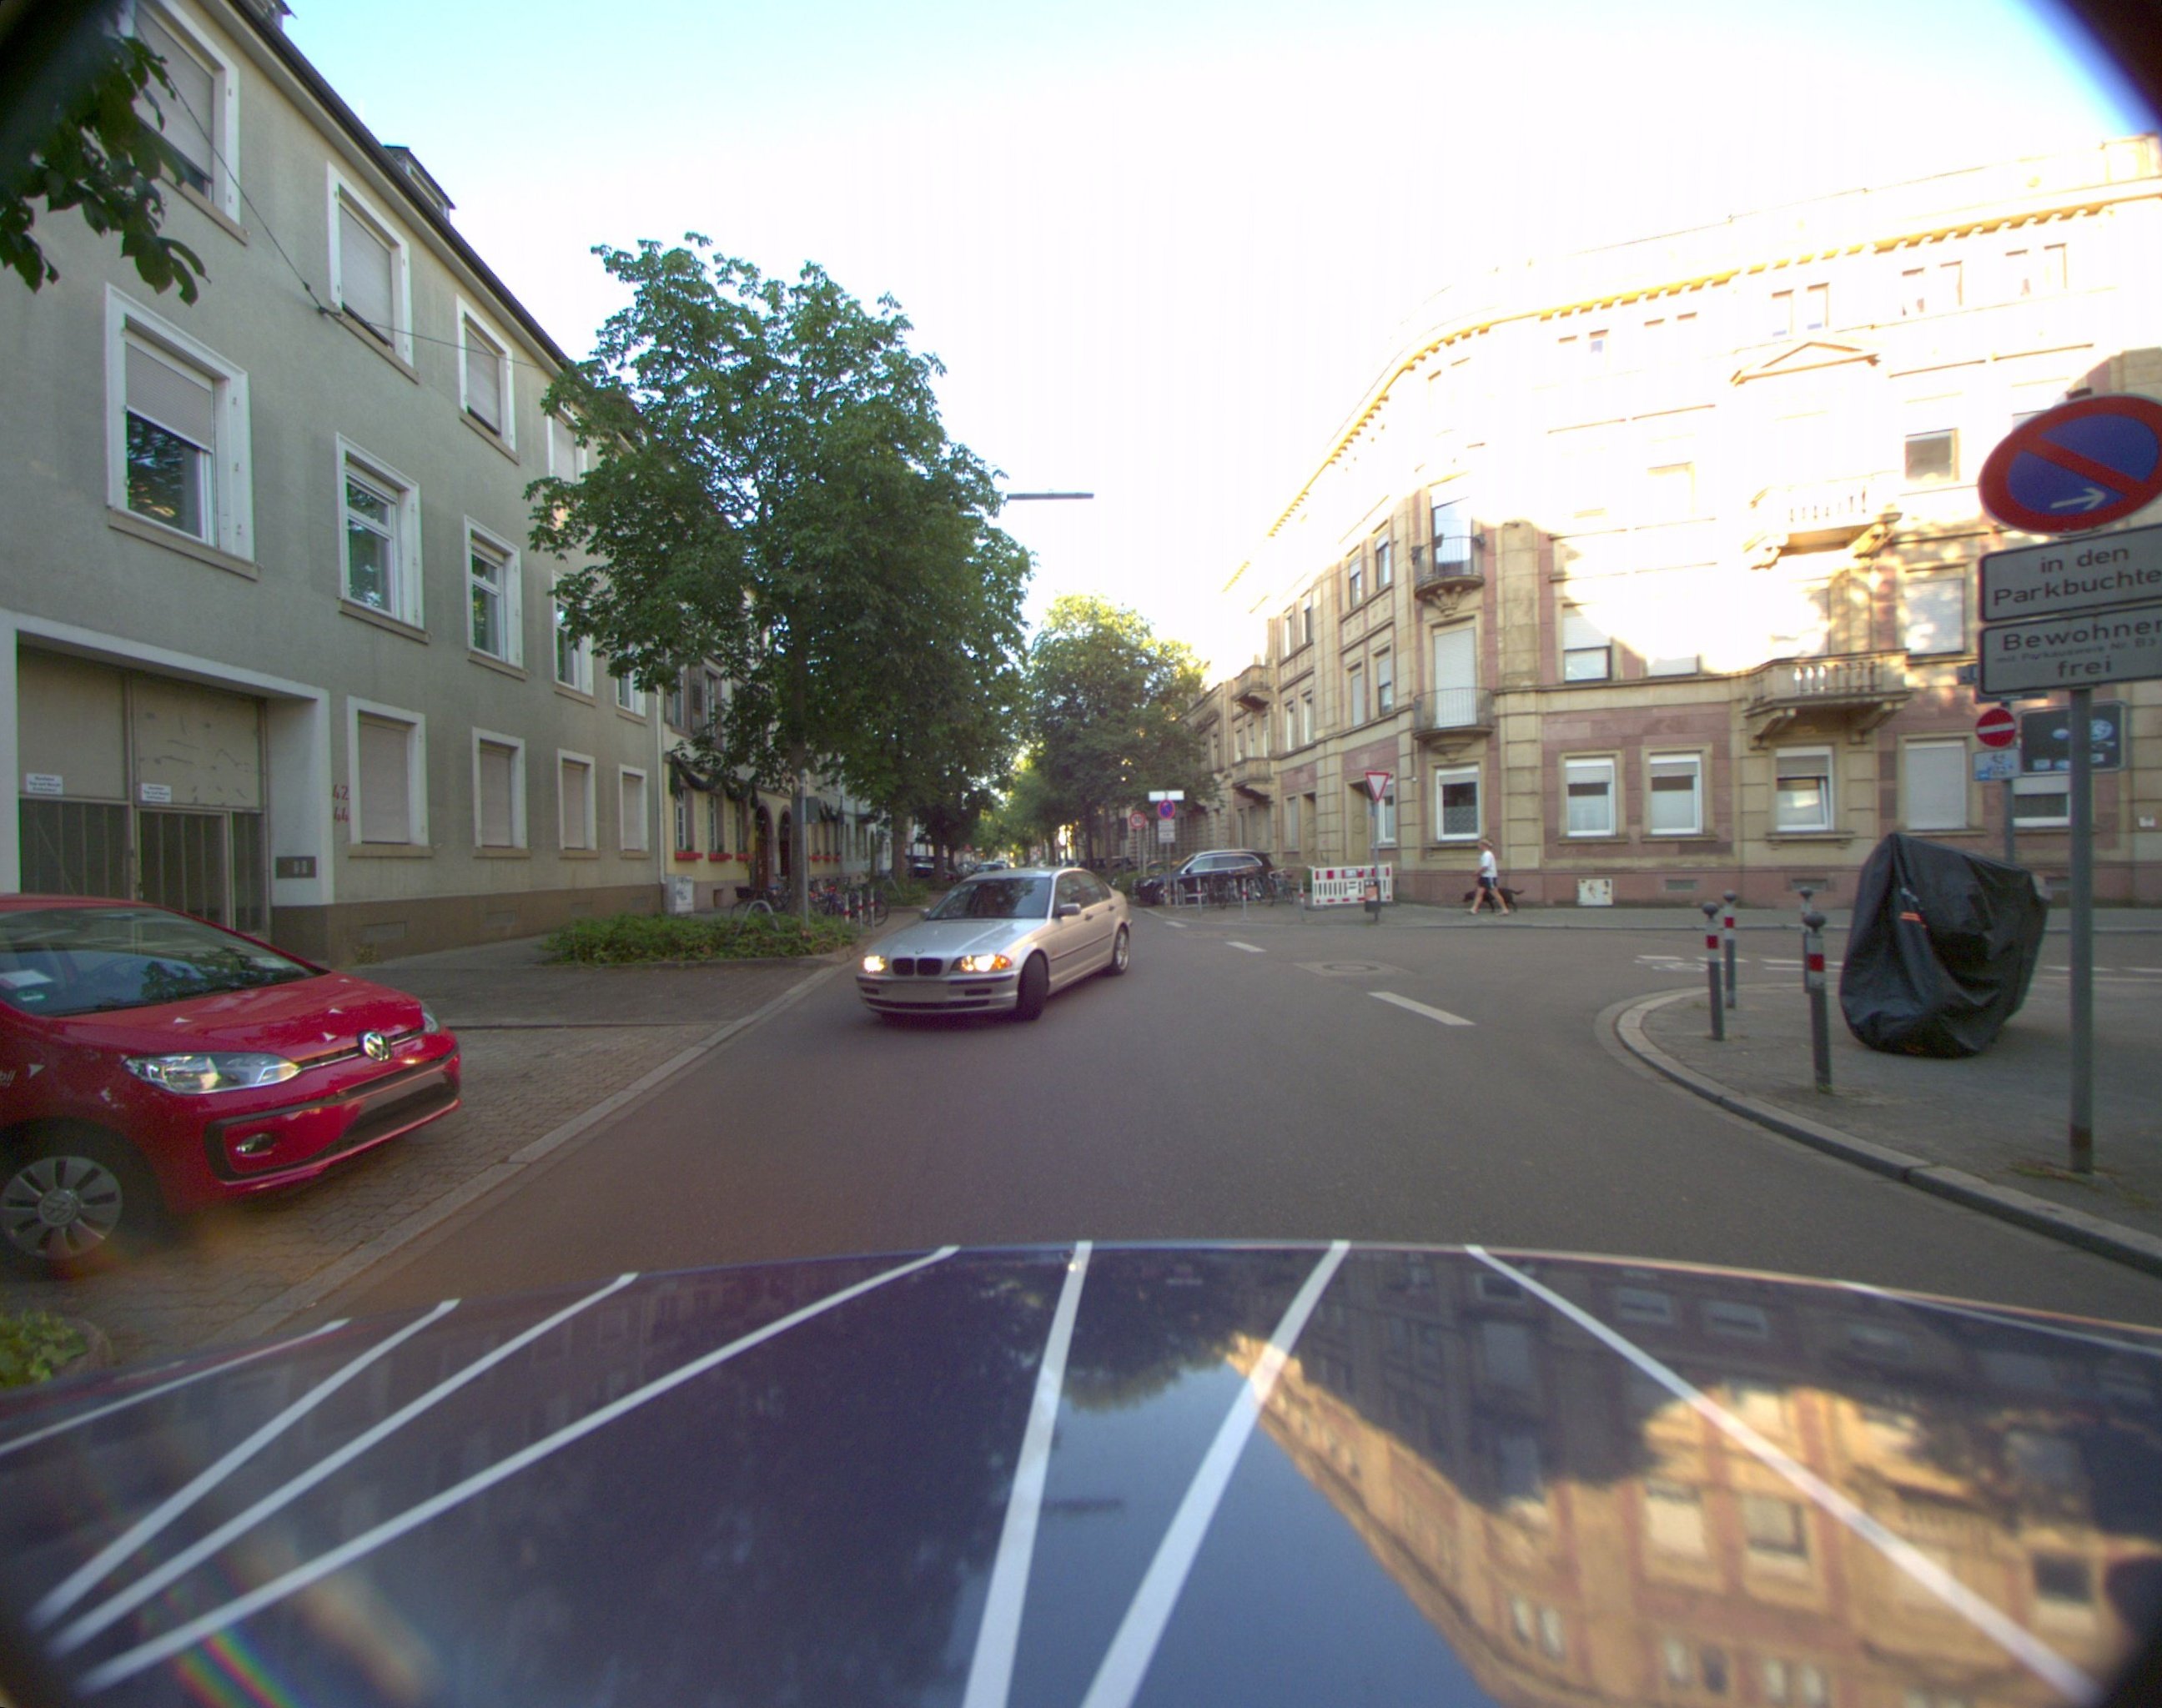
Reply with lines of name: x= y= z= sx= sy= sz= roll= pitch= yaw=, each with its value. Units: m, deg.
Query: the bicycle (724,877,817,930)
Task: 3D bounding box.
bicycle: x=-7.498 y=1.183 z=18.449 sx=2.030 sy=1.220 sz=0.535 roll=-1 pitch=0 yaw=-16

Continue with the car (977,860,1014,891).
car: x=-4.639 y=1.156 z=41.712 sx=1.806 sy=1.543 sz=3.998 roll=-1 pitch=0 yaw=-4

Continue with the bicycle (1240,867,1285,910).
bicycle: x=5.172 y=0.961 z=21.768 sx=0.562 sy=1.144 sz=2.038 roll=-1 pitch=0 yaw=-8

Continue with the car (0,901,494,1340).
car: x=-5.168 y=1.040 z=3.414 sx=3.621 sy=1.468 sz=1.663 roll=-1 pitch=0 yaw=-7

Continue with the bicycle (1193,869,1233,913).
bicycle: x=3.740 y=1.028 z=21.658 sx=0.562 sy=1.144 sz=2.038 roll=-1 pitch=0 yaw=-6

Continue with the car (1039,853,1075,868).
car: x=-2.980 y=0.798 z=92.535 sx=4.245 sy=1.749 sz=1.741 roll=-1 pitch=0 yaw=-5

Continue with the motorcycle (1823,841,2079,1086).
motorcycle: x=6.493 y=0.675 z=5.635 sx=2.286 sy=1.496 sz=0.816 roll=-1 pitch=1 yaw=-30

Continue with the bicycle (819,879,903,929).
bicycle: x=-5.665 y=1.284 z=19.636 sx=2.029 sy=1.220 sz=0.535 roll=-1 pitch=0 yaw=-11

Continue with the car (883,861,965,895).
car: x=-8.560 y=1.284 z=41.668 sx=4.245 sy=1.729 sz=1.741 roll=-1 pitch=0 yaw=-6

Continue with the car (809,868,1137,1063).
car: x=-0.798 y=0.943 z=8.385 sx=1.709 sy=1.433 sz=4.442 roll=-1 pitch=0 yaw=19

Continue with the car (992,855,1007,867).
car: x=-10.786 y=0.917 z=100.869 sx=1.806 sy=1.543 sz=3.998 roll=-1 pitch=0 yaw=-5

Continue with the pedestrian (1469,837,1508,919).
pedestrian: x=9.037 y=0.524 z=16.859 sx=0.650 sy=1.797 sz=0.574 roll=-1 pitch=1 yaw=18

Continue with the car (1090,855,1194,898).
car: x=2.526 y=0.921 z=32.086 sx=4.243 sy=1.668 sz=1.742 roll=-1 pitch=0 yaw=-1

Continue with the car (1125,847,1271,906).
car: x=3.720 y=0.704 z=24.645 sx=4.423 sy=1.771 sz=1.742 roll=-1 pitch=0 yaw=-1

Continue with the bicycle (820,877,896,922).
bicycle: x=-6.373 y=1.289 z=21.787 sx=2.029 sy=1.220 sz=0.535 roll=-1 pitch=0 yaw=-11

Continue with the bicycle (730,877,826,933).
bicycle: x=-7.038 y=1.173 z=17.747 sx=2.030 sy=1.220 sz=0.535 roll=-1 pitch=0 yaw=-16

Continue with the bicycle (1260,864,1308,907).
bicycle: x=5.790 y=0.882 z=21.818 sx=0.562 sy=1.144 sz=2.038 roll=-1 pitch=0 yaw=-8

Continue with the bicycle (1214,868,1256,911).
bicycle: x=4.378 y=0.984 z=21.726 sx=0.562 sy=1.144 sz=2.038 roll=-1 pitch=0 yaw=-6

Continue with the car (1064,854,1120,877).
car: x=0.858 y=0.882 z=60.849 sx=4.245 sy=1.749 sz=1.741 roll=-1 pitch=0 yaw=-5

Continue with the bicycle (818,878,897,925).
bicycle: x=-6.131 y=1.289 z=20.917 sx=2.029 sy=1.220 sz=0.535 roll=-1 pitch=0 yaw=-11

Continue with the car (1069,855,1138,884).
car: x=1.405 y=0.969 z=48.379 sx=4.245 sy=1.749 sz=1.741 roll=-1 pitch=0 yaw=-5

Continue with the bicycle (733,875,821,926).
bicycle: x=-7.819 y=1.183 z=19.595 sx=2.029 sy=1.220 sz=0.535 roll=-1 pitch=0 yaw=-13

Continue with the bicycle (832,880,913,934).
bicycle: x=-5.041 y=1.258 z=18.396 sx=1.849 sy=1.220 sz=0.535 roll=-1 pitch=0 yaw=-16
